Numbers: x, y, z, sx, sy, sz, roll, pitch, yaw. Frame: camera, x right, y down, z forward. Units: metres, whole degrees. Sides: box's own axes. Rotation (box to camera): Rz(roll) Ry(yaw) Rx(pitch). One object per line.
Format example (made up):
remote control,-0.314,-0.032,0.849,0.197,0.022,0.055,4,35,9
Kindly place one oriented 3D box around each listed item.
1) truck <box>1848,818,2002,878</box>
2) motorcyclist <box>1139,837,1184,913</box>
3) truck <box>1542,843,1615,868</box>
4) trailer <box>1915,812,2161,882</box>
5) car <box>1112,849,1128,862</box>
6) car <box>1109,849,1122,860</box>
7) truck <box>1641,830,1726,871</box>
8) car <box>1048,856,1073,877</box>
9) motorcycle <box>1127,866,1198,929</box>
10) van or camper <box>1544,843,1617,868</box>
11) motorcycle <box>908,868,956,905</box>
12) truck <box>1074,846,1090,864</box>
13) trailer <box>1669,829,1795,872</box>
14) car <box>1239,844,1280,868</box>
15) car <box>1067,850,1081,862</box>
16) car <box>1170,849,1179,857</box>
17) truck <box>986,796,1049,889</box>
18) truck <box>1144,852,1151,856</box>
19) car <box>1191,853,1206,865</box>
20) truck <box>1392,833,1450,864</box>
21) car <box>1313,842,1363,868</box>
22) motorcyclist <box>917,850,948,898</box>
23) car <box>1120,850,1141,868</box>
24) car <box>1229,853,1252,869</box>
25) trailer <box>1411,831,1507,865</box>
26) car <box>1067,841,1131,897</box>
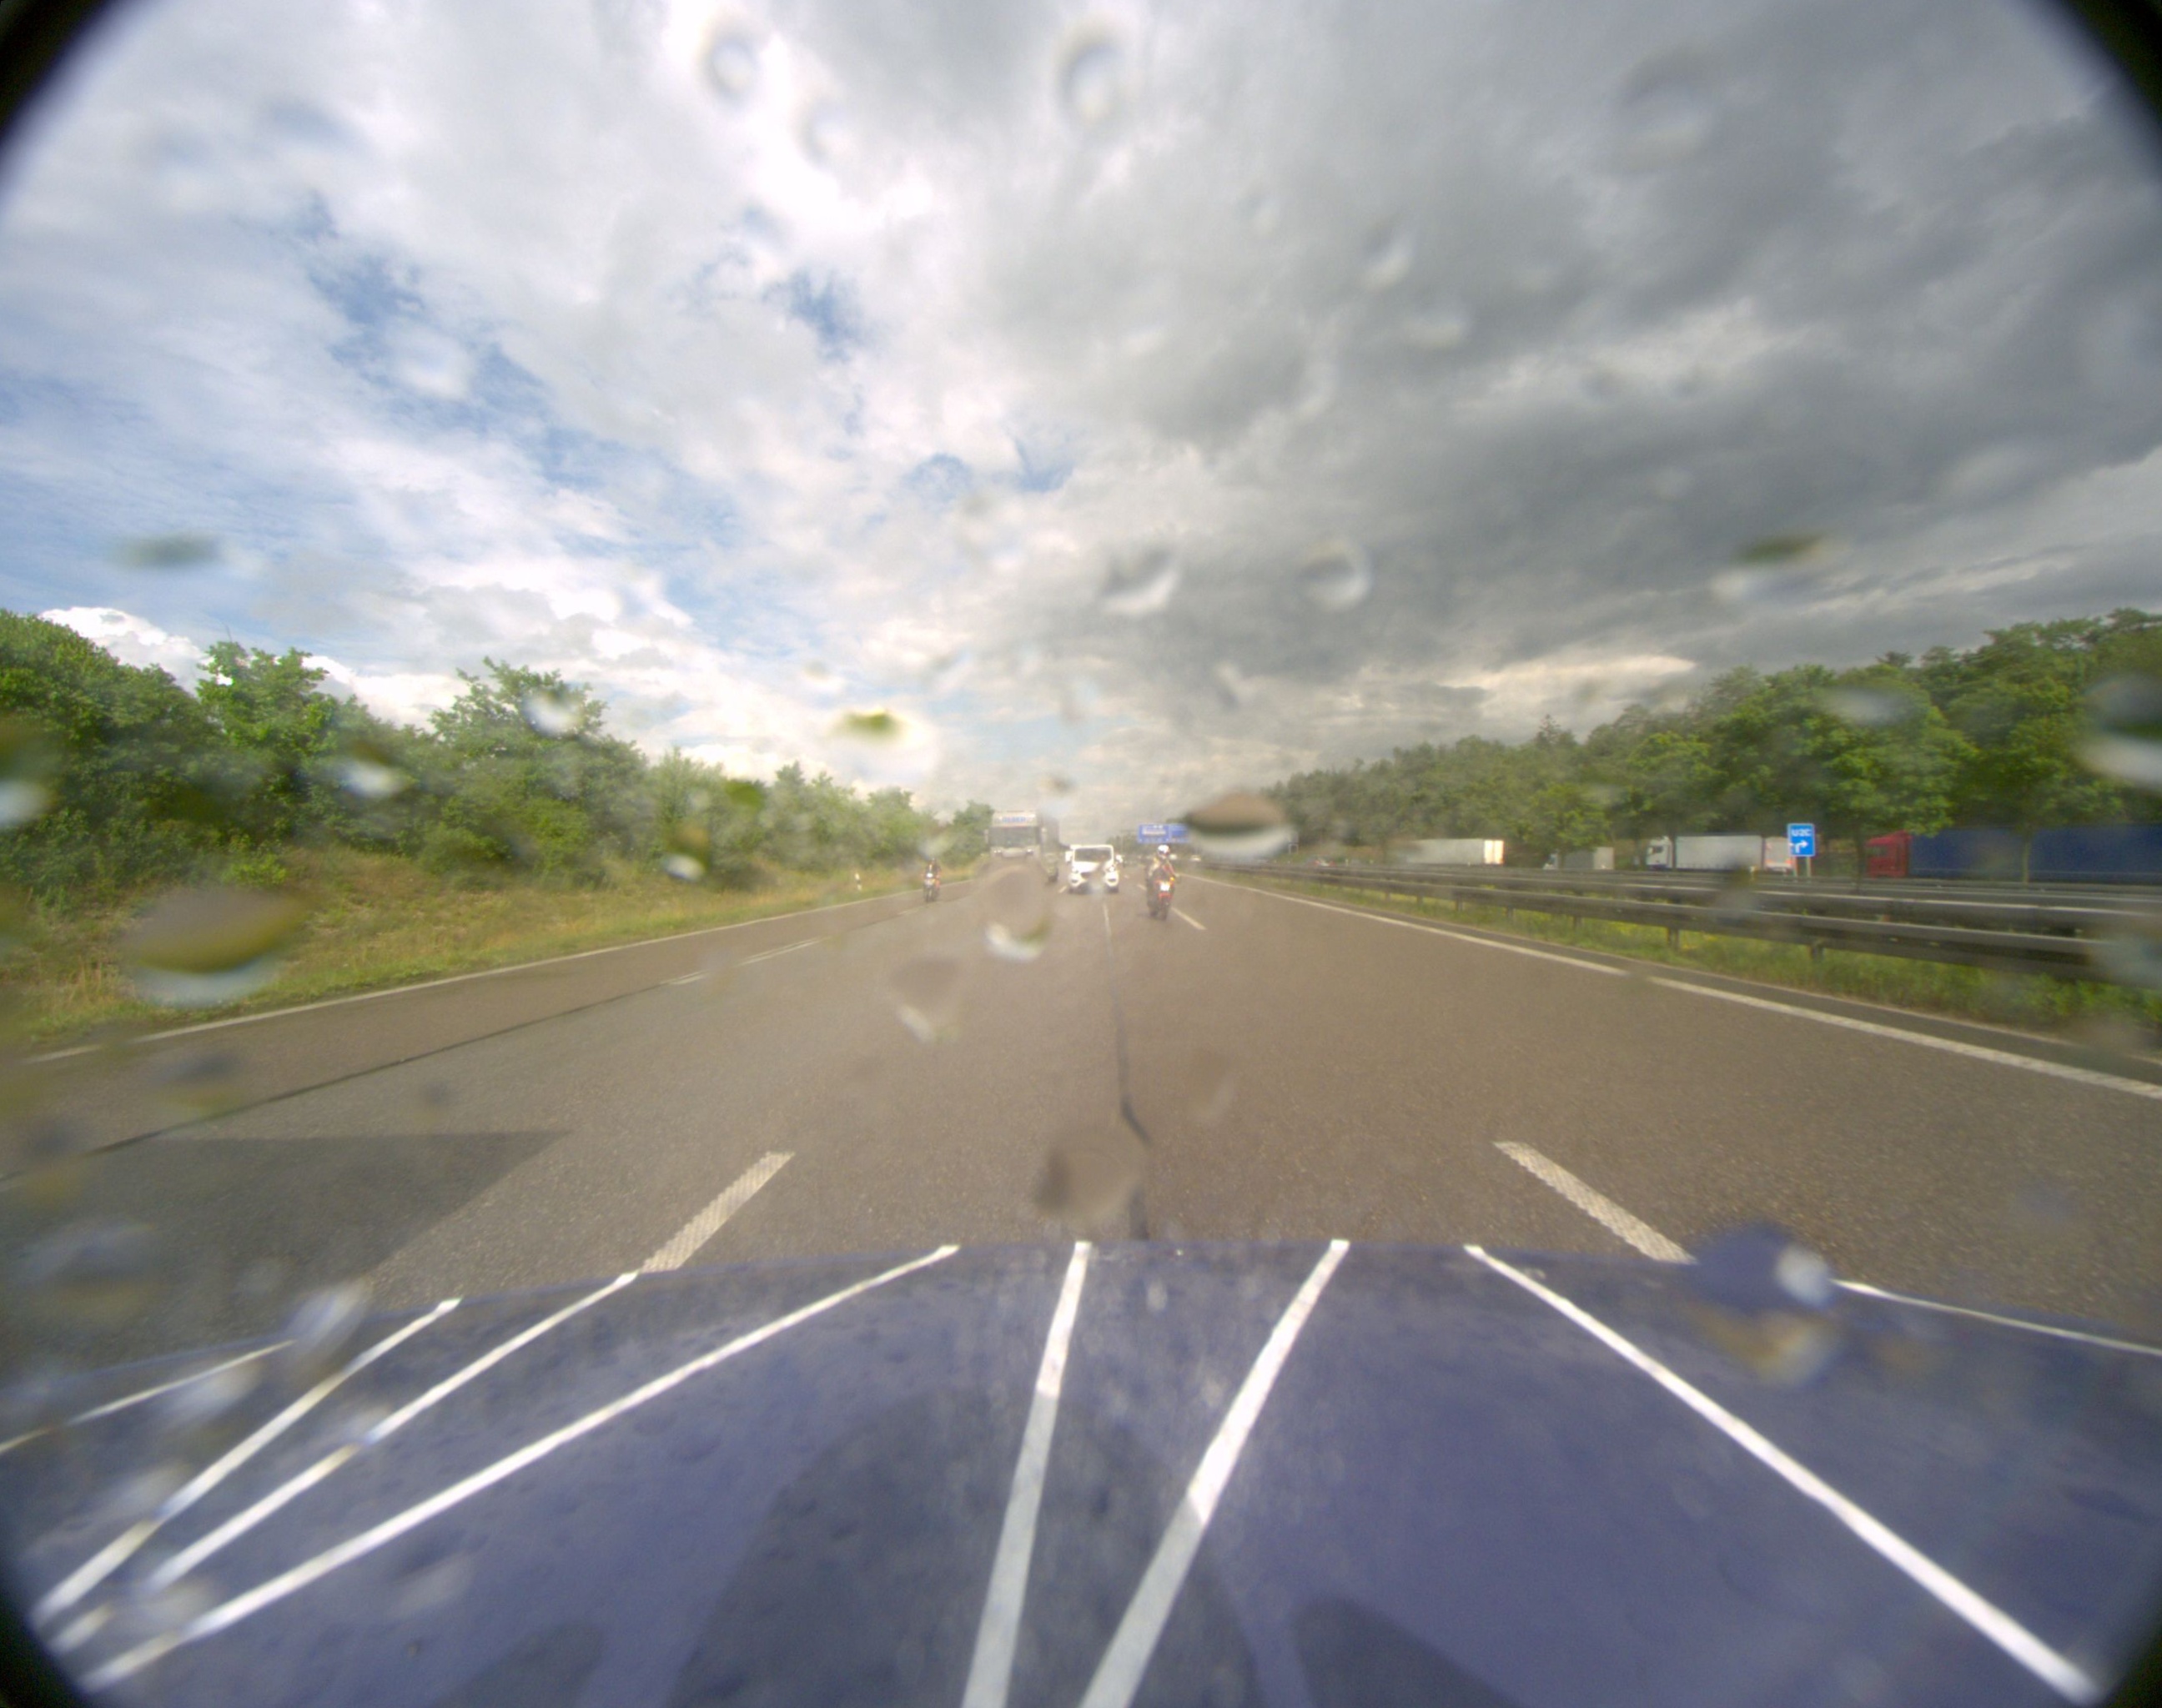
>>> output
truck,52.792,-0.363,47.772,2.869,3.436,5.893,-2,1,-6
motorcyclist,1.865,0.467,17.738,0.883,1.696,1.000,-2,1,-1
truck,48.824,0.143,74.723,2.125,2.252,6.312,-2,1,-12
trailer,53.497,-0.348,40.322,2.831,3.385,13.418,-1,0,-6
car,6.379,0.253,124.175,2.350,2.033,5.143,-2,1,1
car,6.448,0.048,142.146,2.350,2.033,5.143,-2,1,1
truck,50.449,-0.293,63.739,2.662,3.249,5.082,-2,1,-9
car,-2.108,1.304,81.008,2.350,2.033,5.143,-2,1,1
motorcycle,1.848,0.952,17.854,1.188,1.219,3.193,-2,1,-2
van or camper,48.915,0.142,74.569,2.125,2.252,6.316,-2,1,-12
motorcycle,-5.429,1.170,27.907,1.188,1.142,3.193,-2,1,-2
truck,0.232,0.186,168.084,3.217,3.607,10.153,-2,1,1
trailer,51.093,-0.286,59.985,2.587,3.214,7.735,-1,1,-8
car,14.850,0.117,63.533,2.306,1.880,4.779,-2,1,1
car,-1.180,0.354,138.781,2.350,2.033,5.143,-2,1,1
car,23.828,-0.226,194.331,1.835,2.033,4.779,-2,1,1
truck,-3.100,-0.593,38.876,2.650,4.250,6.883,-2,1,-2
truck,21.433,-0.155,246.315,1.893,1.187,4.000,-2,1,1
car,20.557,0.885,133.158,1.835,1.880,4.779,-2,1,1
truck,43.401,-0.706,97.346,3.219,3.683,6.908,-2,1,-13
car,19.511,0.052,57.910,2.306,1.880,4.779,-2,1,1
motorcyclist,-5.436,0.707,27.919,0.883,1.696,1.000,-2,1,-1
car,6.249,0.576,95.876,2.350,2.033,5.143,-2,1,1
car,19.908,0.885,94.926,1.835,1.880,4.779,-2,1,1
trailer,44.870,-0.670,90.930,3.215,3.717,12.555,-1,0,-12
car,0.733,0.544,31.333,2.350,2.033,5.143,-2,1,1
